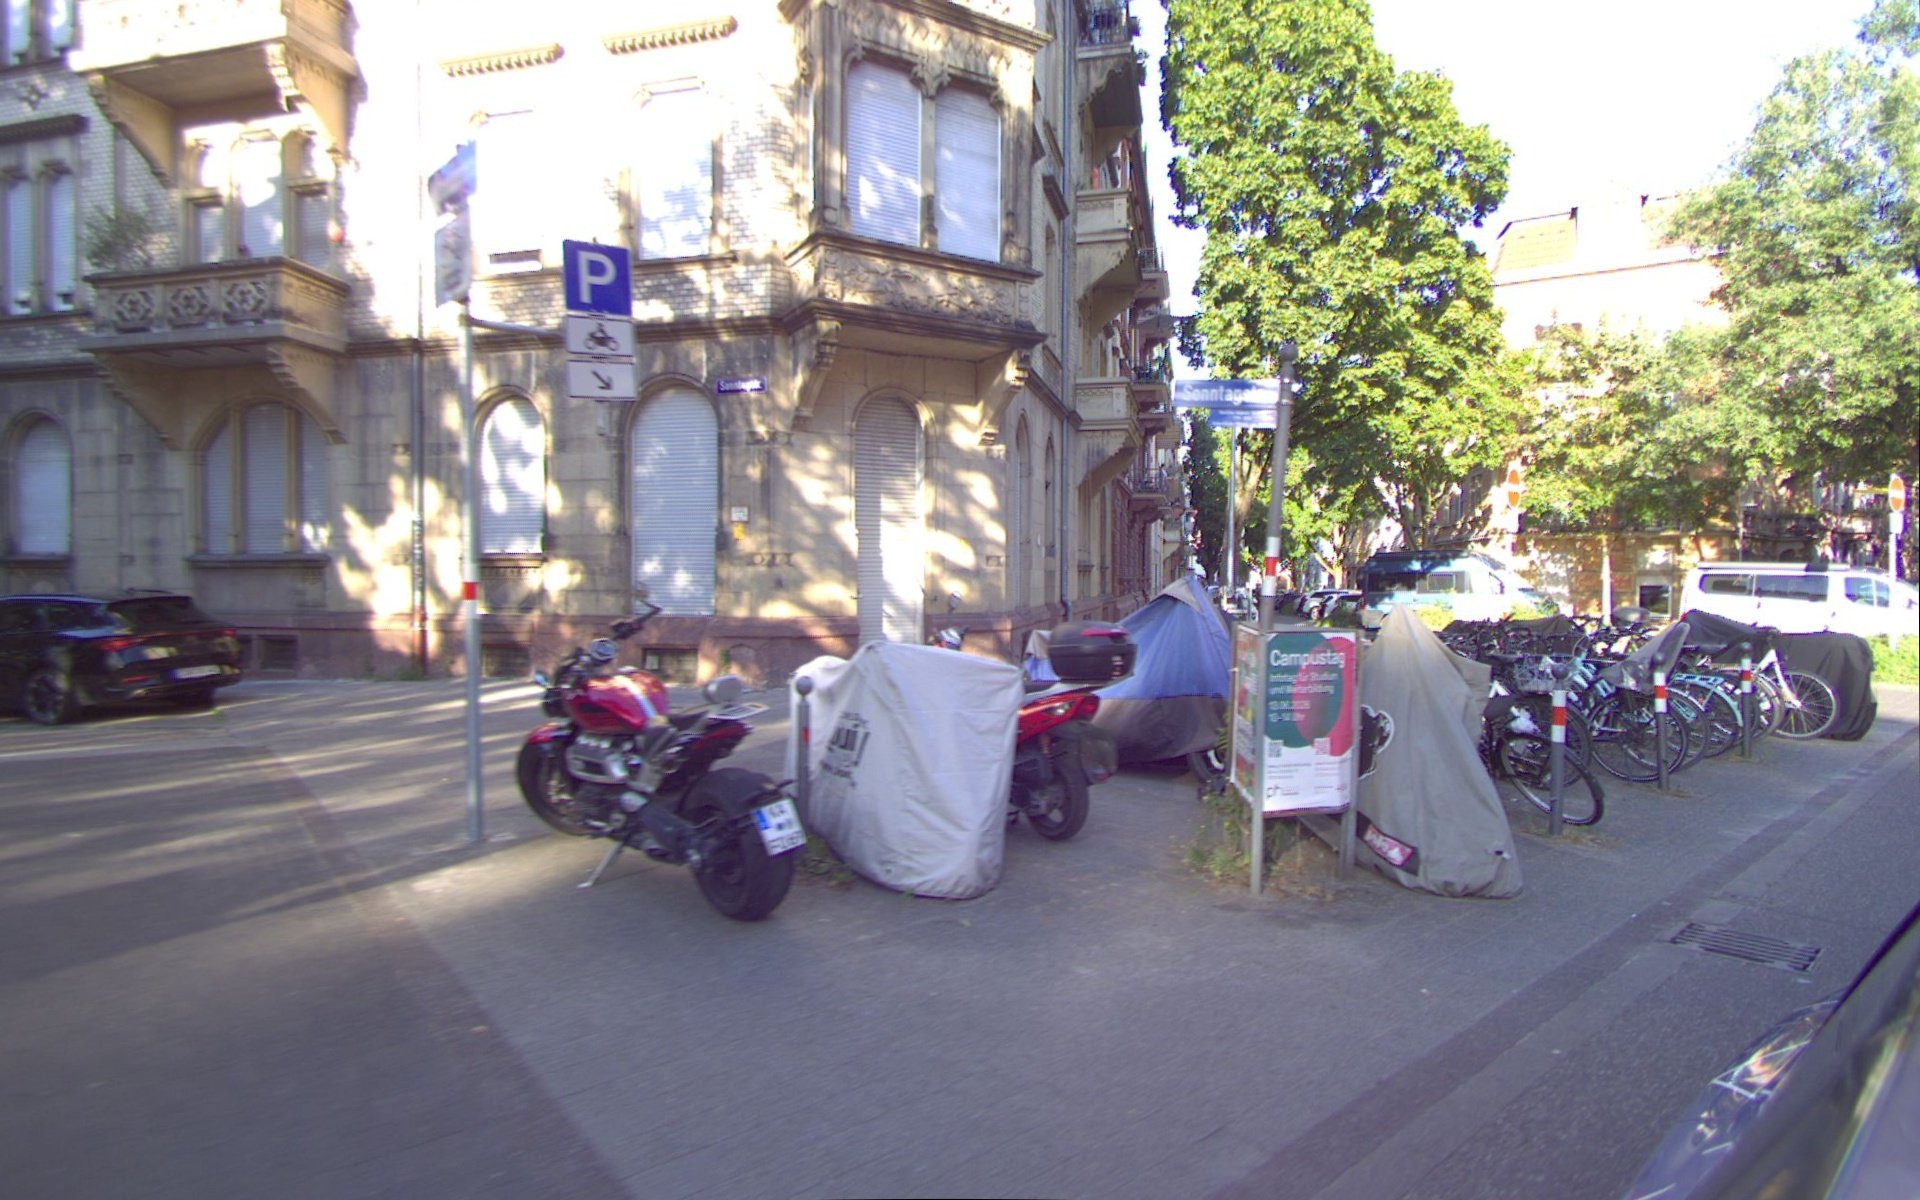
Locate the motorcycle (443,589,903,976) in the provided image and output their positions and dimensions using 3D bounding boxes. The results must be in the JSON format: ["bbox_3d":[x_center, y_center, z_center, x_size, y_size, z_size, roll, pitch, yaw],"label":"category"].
[{"bbox_3d":[-1.434,0.641,4.736,2.362,1.358,0.927,1,1,41],"label":"motorcycle"}]

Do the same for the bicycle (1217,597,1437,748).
[{"bbox_3d":[3.403,0.621,9.538,1.925,1.262,0.472,1,1,45],"label":"bicycle"}]

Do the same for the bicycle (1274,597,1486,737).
[{"bbox_3d":[4.146,0.610,10.114,1.925,1.262,0.472,1,1,45],"label":"bicycle"}]

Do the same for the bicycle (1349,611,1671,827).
[{"bbox_3d":[3.667,0.731,6.912,1.925,1.262,0.298,1,1,45],"label":"bicycle"}]

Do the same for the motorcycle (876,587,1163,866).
[{"bbox_3d":[0.243,0.614,6.176,0.643,1.358,2.293,-1,1,-28],"label":"motorcycle"}]

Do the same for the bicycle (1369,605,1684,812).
[{"bbox_3d":[3.903,0.683,7.129,1.925,1.262,0.298,1,1,45],"label":"bicycle"}]

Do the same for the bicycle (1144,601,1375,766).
[{"bbox_3d":[2.540,0.657,8.772,1.925,1.262,0.472,1,1,45],"label":"bicycle"}]

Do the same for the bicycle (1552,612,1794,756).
[{"bbox_3d":[6.953,0.769,9.966,1.925,1.262,0.298,1,1,45],"label":"bicycle"}]

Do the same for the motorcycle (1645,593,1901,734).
[{"bbox_3d":[8.875,0.629,11.128,0.888,1.300,2.027,0,3,-41],"label":"motorcycle"}]

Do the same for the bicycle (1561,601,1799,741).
[{"bbox_3d":[7.174,0.661,10.172,1.925,1.262,0.298,1,1,45],"label":"bicycle"}]

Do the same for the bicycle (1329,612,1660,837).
[{"bbox_3d":[3.436,0.733,6.680,1.925,1.262,0.298,1,1,45],"label":"bicycle"}]

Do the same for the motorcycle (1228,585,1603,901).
[{"bbox_3d":[2.382,0.637,5.647,0.921,1.430,1.942,0,1,-12],"label":"motorcycle"}]

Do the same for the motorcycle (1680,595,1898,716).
[{"bbox_3d":[10.179,0.629,12.491,0.611,1.344,2.016,0,1,-43],"label":"motorcycle"}]

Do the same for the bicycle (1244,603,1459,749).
[{"bbox_3d":[3.758,0.676,9.848,1.925,1.262,0.472,1,1,45],"label":"bicycle"}]

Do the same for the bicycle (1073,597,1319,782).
[{"bbox_3d":[1.782,0.624,7.915,1.925,1.262,0.445,1,1,45],"label":"bicycle"}]

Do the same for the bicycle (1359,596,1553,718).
[{"bbox_3d":[5.588,0.600,11.500,1.925,1.262,0.472,1,1,45],"label":"bicycle"}]

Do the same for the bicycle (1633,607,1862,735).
[{"bbox_3d":[8.307,0.706,10.756,0.436,1.141,1.821,0,3,-41],"label":"bicycle"}]

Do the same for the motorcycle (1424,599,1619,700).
[{"bbox_3d":[7.275,0.594,13.192,0.888,1.122,2.027,0,3,-41],"label":"motorcycle"}]

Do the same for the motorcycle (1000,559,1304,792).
[{"bbox_3d":[1.401,0.481,7.804,2.283,1.550,0.744,1,1,44],"label":"motorcycle"}]

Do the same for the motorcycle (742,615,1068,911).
[{"bbox_3d":[-0.433,0.726,5.628,0.951,1.194,2.294,-1,1,-27],"label":"motorcycle"}]

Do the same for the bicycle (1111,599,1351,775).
[{"bbox_3d":[2.161,0.639,8.294,1.925,1.262,0.472,1,1,45],"label":"bicycle"}]

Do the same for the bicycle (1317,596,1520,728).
[{"bbox_3d":[4.830,0.605,10.763,1.925,1.262,0.472,1,1,45],"label":"bicycle"}]

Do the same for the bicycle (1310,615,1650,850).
[{"bbox_3d":[3.217,0.754,6.448,1.925,1.262,0.298,1,1,45],"label":"bicycle"}]

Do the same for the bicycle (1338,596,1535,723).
[{"bbox_3d":[5.196,0.602,11.140,1.925,1.262,0.472,1,1,45],"label":"bicycle"}]

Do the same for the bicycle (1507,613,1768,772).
[{"bbox_3d":[6.012,0.771,9.094,1.925,1.262,0.298,1,1,45],"label":"bicycle"}]

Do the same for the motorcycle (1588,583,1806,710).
[{"bbox_3d":[9.017,0.514,12.466,0.682,1.379,2.028,0,2,-40],"label":"motorcycle"}]

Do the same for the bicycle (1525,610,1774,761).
[{"bbox_3d":[6.454,0.752,9.575,1.925,1.262,0.298,1,1,45],"label":"bicycle"}]

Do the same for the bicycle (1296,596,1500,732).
[{"bbox_3d":[4.468,0.607,10.453,1.925,1.262,0.389,1,1,45],"label":"bicycle"}]

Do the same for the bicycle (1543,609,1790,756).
[{"bbox_3d":[6.724,0.738,9.736,1.925,1.262,0.298,1,1,45],"label":"bicycle"}]

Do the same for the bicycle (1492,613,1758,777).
[{"bbox_3d":[5.756,0.767,8.870,1.925,1.262,0.298,1,1,45],"label":"bicycle"}]

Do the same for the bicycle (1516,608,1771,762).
[{"bbox_3d":[6.228,0.726,9.333,1.925,1.262,0.298,1,1,45],"label":"bicycle"}]

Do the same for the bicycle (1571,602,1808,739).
[{"bbox_3d":[7.529,0.673,10.513,1.925,1.262,0.638,1,1,44],"label":"bicycle"}]
